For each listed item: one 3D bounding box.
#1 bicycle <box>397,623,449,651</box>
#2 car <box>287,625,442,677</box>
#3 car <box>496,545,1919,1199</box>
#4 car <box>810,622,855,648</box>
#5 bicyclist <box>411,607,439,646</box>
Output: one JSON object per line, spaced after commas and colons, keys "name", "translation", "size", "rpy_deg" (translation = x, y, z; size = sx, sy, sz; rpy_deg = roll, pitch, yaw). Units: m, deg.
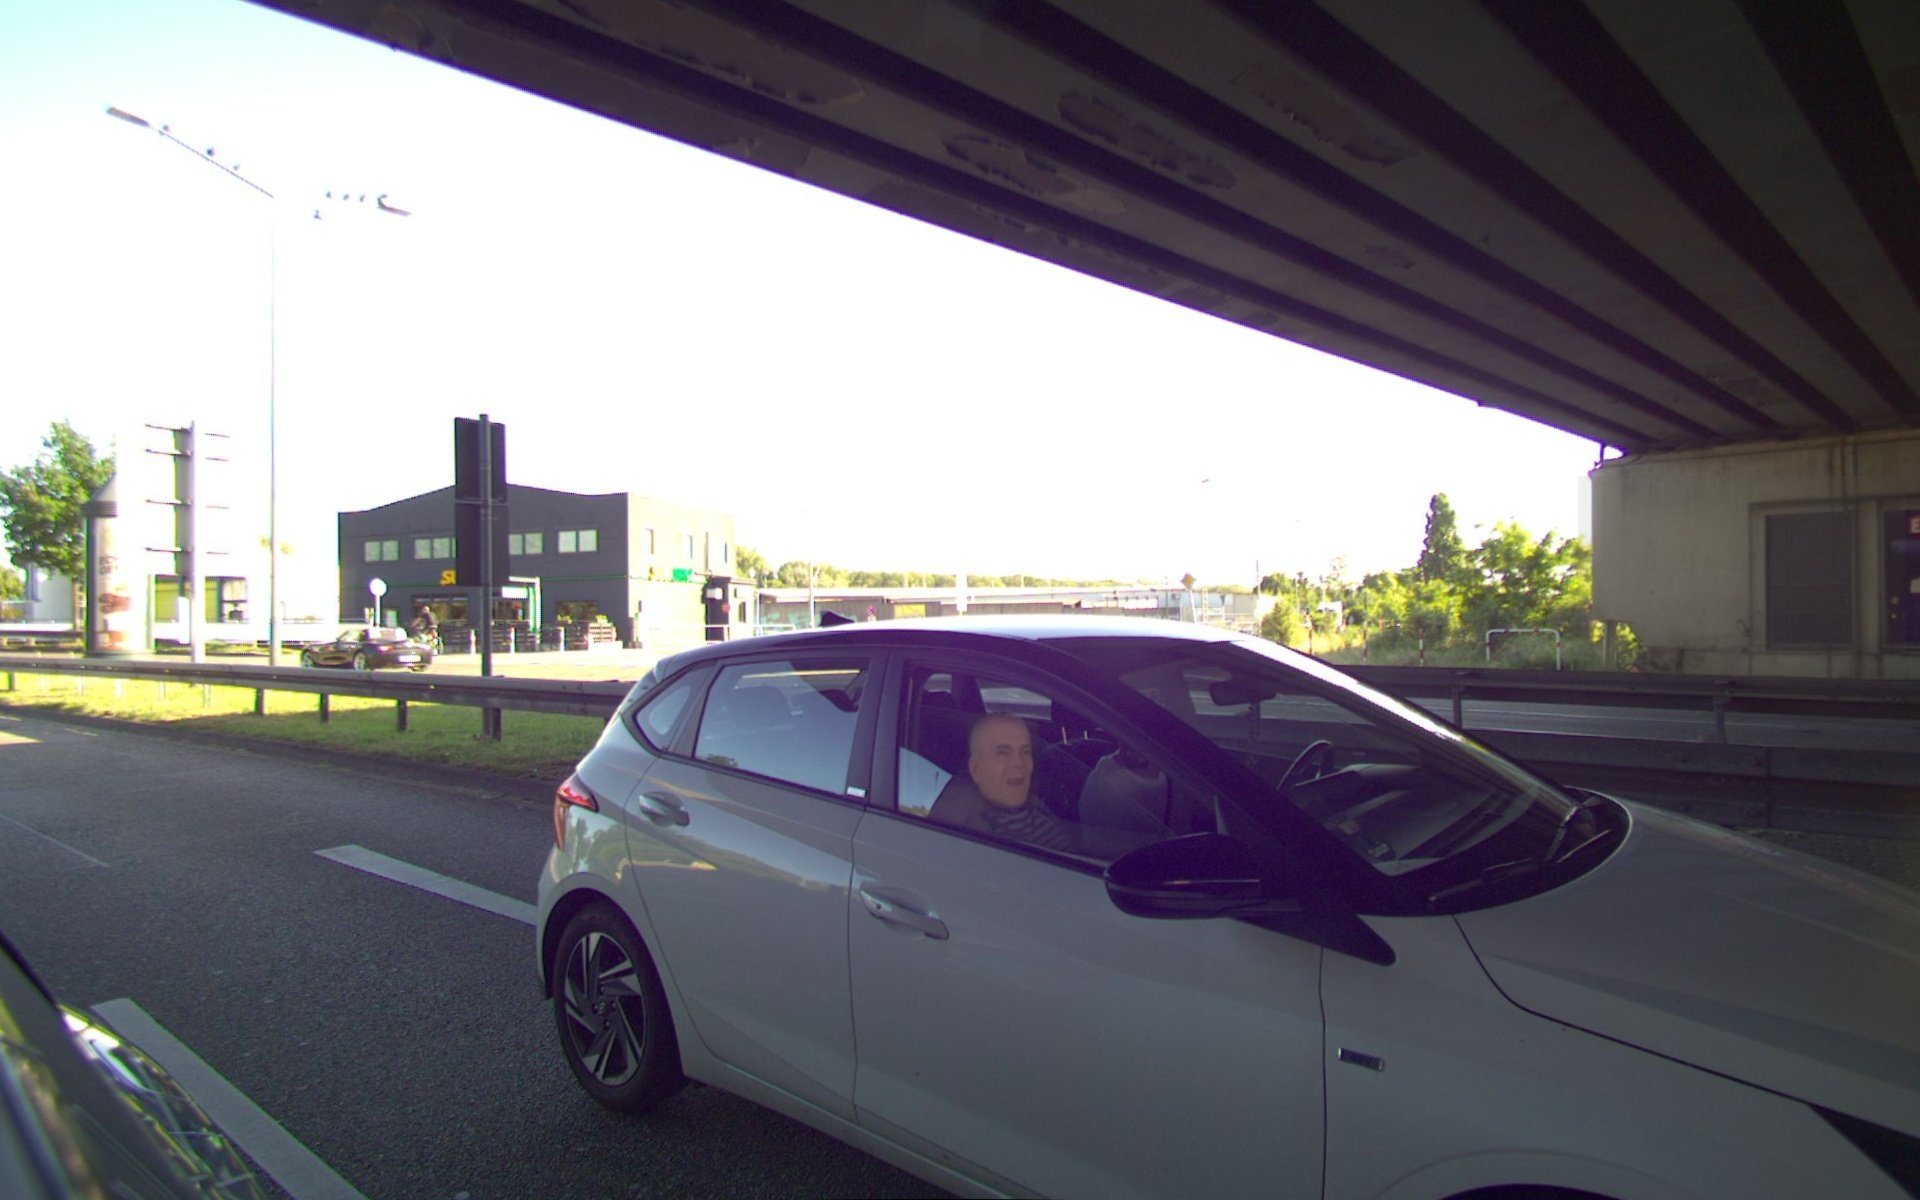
{"name": "bicycle", "translation": [-19.875, 1.372, 37.475], "size": [1.733, 1.031, 0.591], "rpy_deg": [-1, 0, 13]}
{"name": "car", "translation": [-15.993, 1.357, 27.138], "size": [4.165, 1.291, 1.730], "rpy_deg": [-1, -4, 30]}
{"name": "car", "translation": [0.559, 0.714, 2.672], "size": [3.987, 1.491, 1.716], "rpy_deg": [-1, -1, 40]}
{"name": "car", "translation": [-6.872, 1.916, 54.965], "size": [1.806, 1.291, 4.180], "rpy_deg": [1, -3, 1]}
{"name": "bicyclist", "translation": [-19.798, 0.973, 37.444], "size": [0.701, 1.438, 0.591], "rpy_deg": [-1, 0, 13]}
